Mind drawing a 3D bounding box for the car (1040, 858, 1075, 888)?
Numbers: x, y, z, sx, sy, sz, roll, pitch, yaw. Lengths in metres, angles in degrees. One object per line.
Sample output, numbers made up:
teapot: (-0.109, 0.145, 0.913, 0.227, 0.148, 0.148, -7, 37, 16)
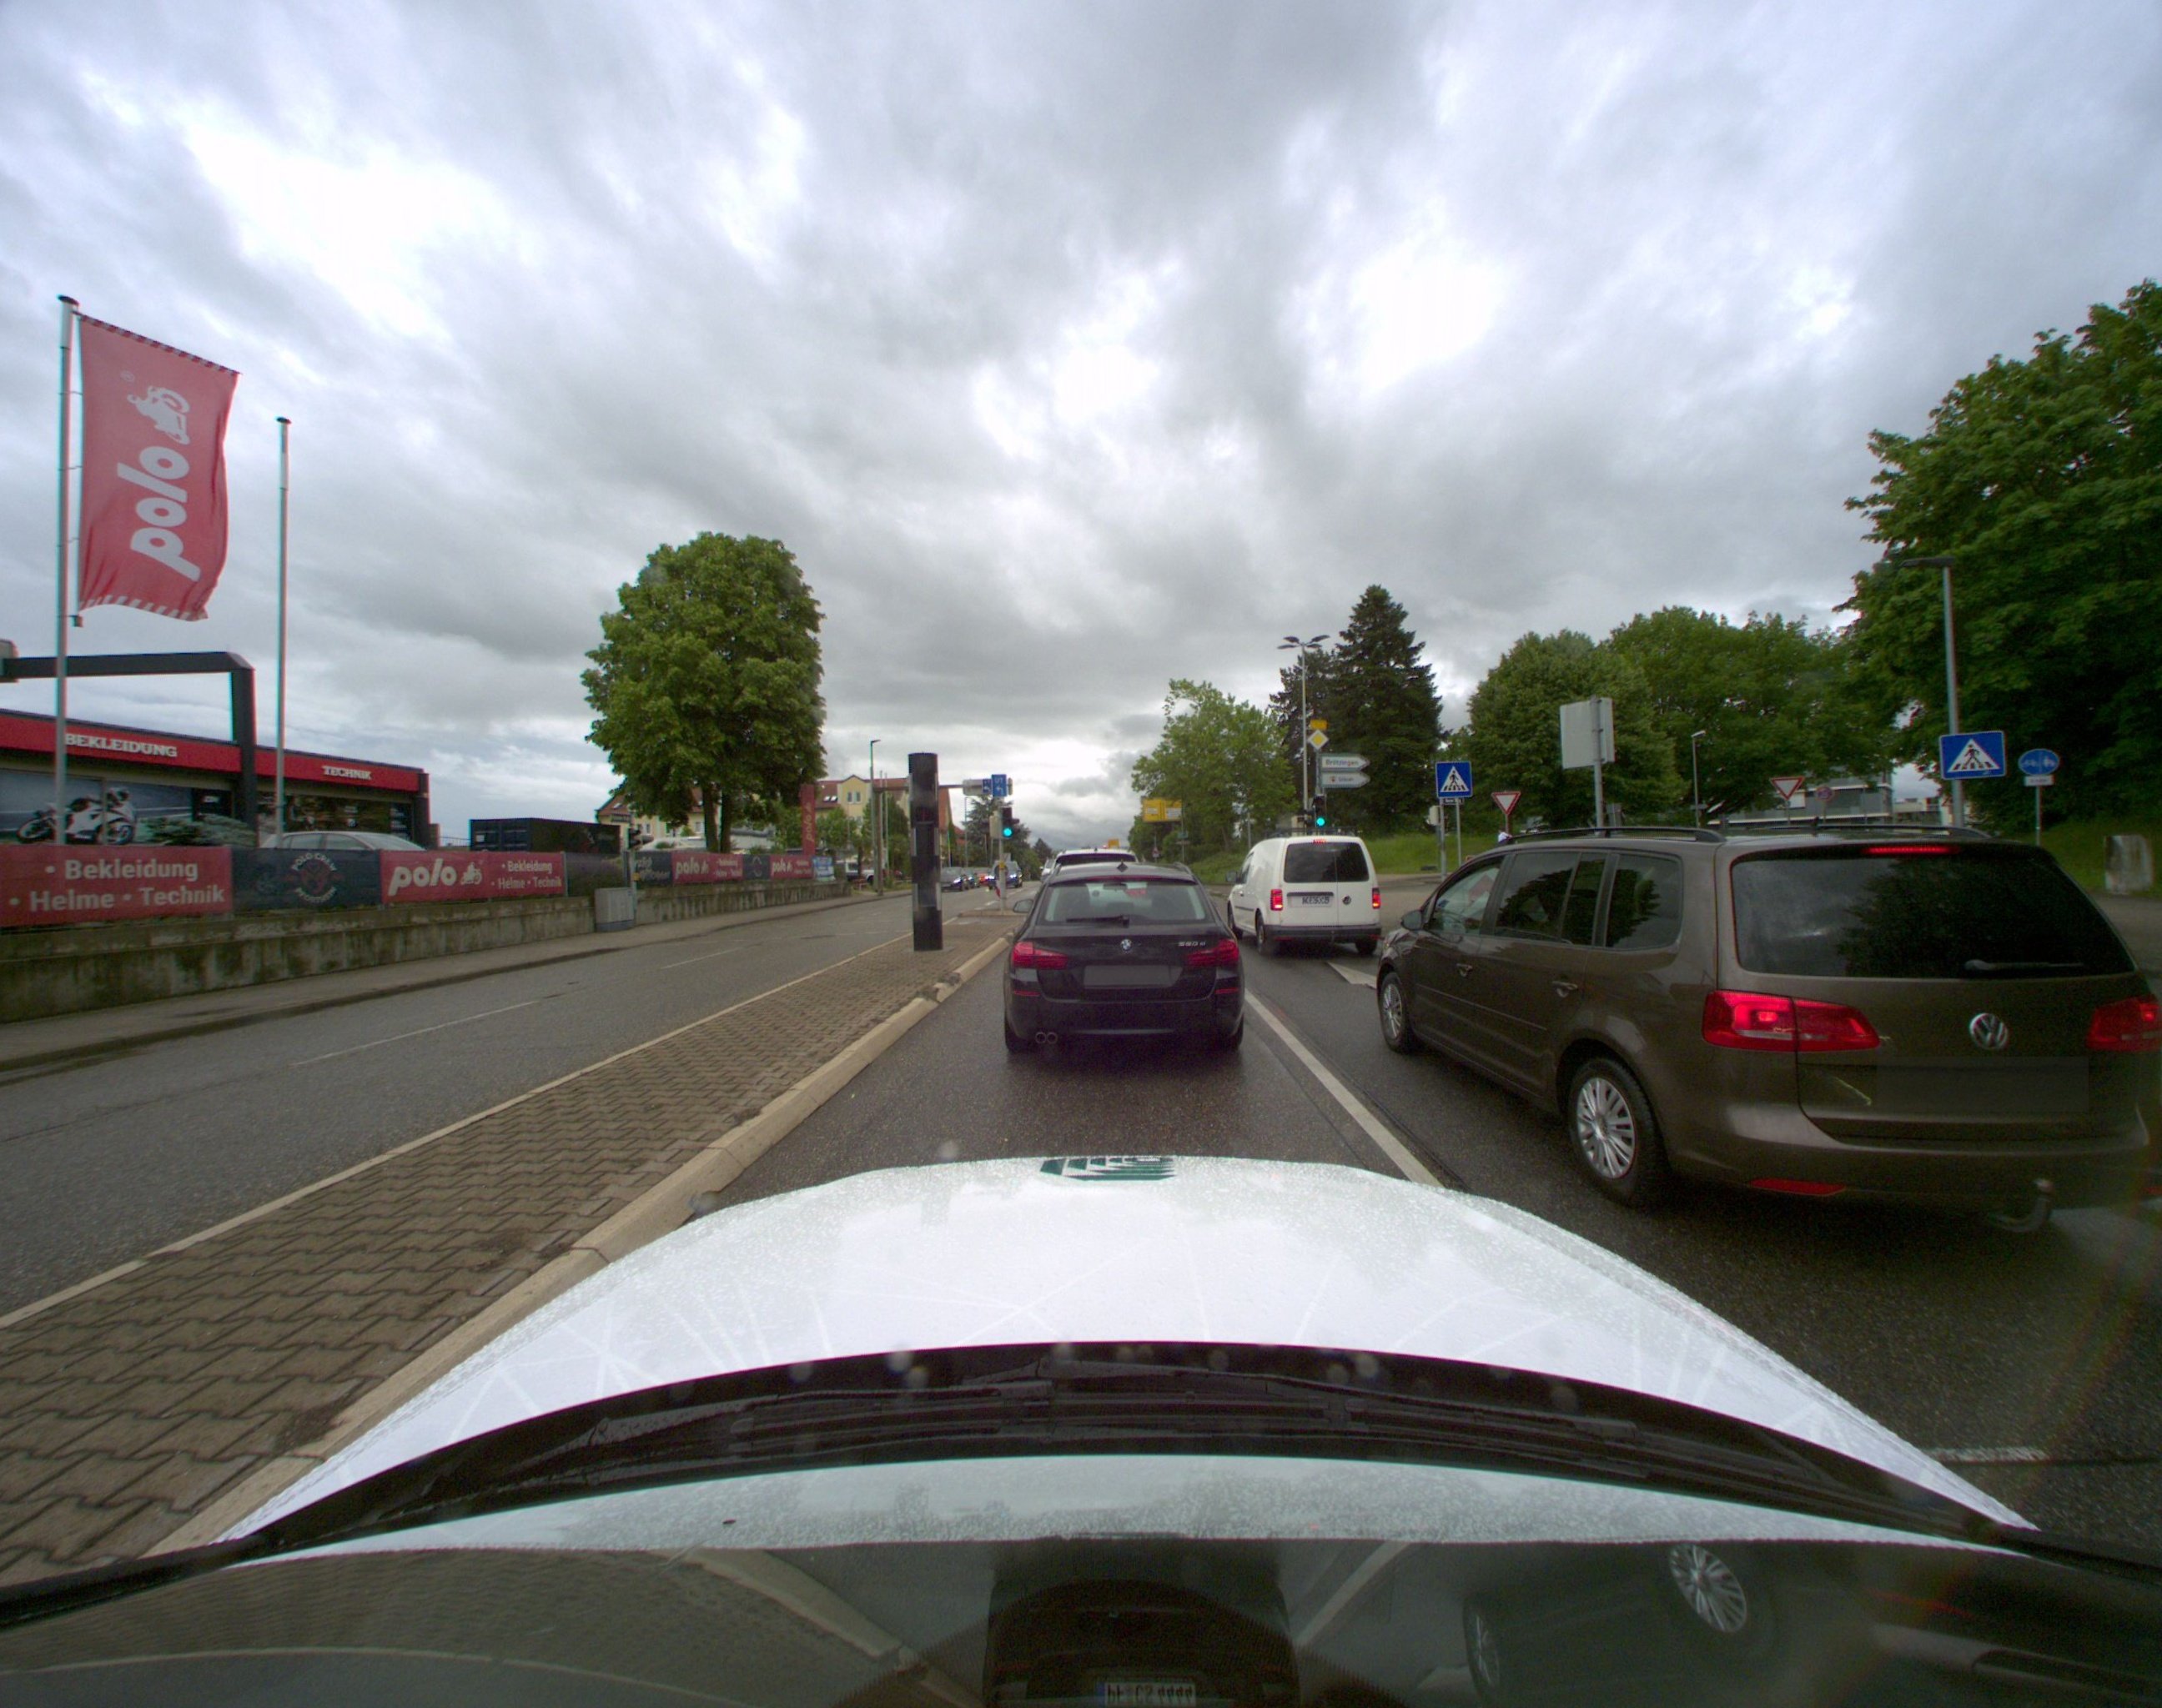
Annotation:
car: (-1.348, 1.106, 48.530, 1.833, 1.649, 4.297, -2, 0, 1)

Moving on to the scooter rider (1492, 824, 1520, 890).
scooter rider: (12.806, 0.092, 24.533, 0.499, 1.965, 0.548, -2, 0, 1)

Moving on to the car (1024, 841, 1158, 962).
car: (0.206, 0.658, 13.473, 1.861, 1.673, 4.002, -1, 0, 2)

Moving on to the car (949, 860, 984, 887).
car: (-7.856, 1.307, 56.121, 1.670, 1.618, 4.001, -3, 0, 1)

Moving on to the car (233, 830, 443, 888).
car: (-16.898, 0.107, 18.627, 3.376, 1.167, 1.453, -2, 0, -1)

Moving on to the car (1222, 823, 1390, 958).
car: (3.521, 0.506, 13.433, 1.758, 1.877, 3.806, -1, 0, 1)

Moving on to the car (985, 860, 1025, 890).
car: (-4.588, 1.229, 49.701, 1.833, 1.649, 4.297, -3, 0, 1)

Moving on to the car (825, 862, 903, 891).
car: (-15.670, 1.636, 58.826, 5.024, 1.702, 1.982, -3, -3, -27)

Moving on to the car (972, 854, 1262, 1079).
car: (0.303, 0.747, 7.372, 1.891, 1.441, 4.002, -1, 0, 2)

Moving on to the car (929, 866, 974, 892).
car: (-7.784, 1.467, 49.299, 1.910, 1.379, 4.127, -3, 0, 2)

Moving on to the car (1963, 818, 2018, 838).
car: (65.703, -1.864, 58.806, 4.009, 1.255, 1.709, -2, 0, -28)

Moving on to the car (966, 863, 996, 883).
car: (-7.587, 1.445, 61.959, 1.617, 1.332, 3.947, -3, 0, 1)

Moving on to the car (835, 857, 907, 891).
car: (-14.510, 1.364, 56.288, 4.410, 2.013, 1.982, -3, 0, -27)

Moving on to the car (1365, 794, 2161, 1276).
car: (3.162, 0.622, 4.740, 1.740, 1.609, 3.982, -1, 0, 2)
